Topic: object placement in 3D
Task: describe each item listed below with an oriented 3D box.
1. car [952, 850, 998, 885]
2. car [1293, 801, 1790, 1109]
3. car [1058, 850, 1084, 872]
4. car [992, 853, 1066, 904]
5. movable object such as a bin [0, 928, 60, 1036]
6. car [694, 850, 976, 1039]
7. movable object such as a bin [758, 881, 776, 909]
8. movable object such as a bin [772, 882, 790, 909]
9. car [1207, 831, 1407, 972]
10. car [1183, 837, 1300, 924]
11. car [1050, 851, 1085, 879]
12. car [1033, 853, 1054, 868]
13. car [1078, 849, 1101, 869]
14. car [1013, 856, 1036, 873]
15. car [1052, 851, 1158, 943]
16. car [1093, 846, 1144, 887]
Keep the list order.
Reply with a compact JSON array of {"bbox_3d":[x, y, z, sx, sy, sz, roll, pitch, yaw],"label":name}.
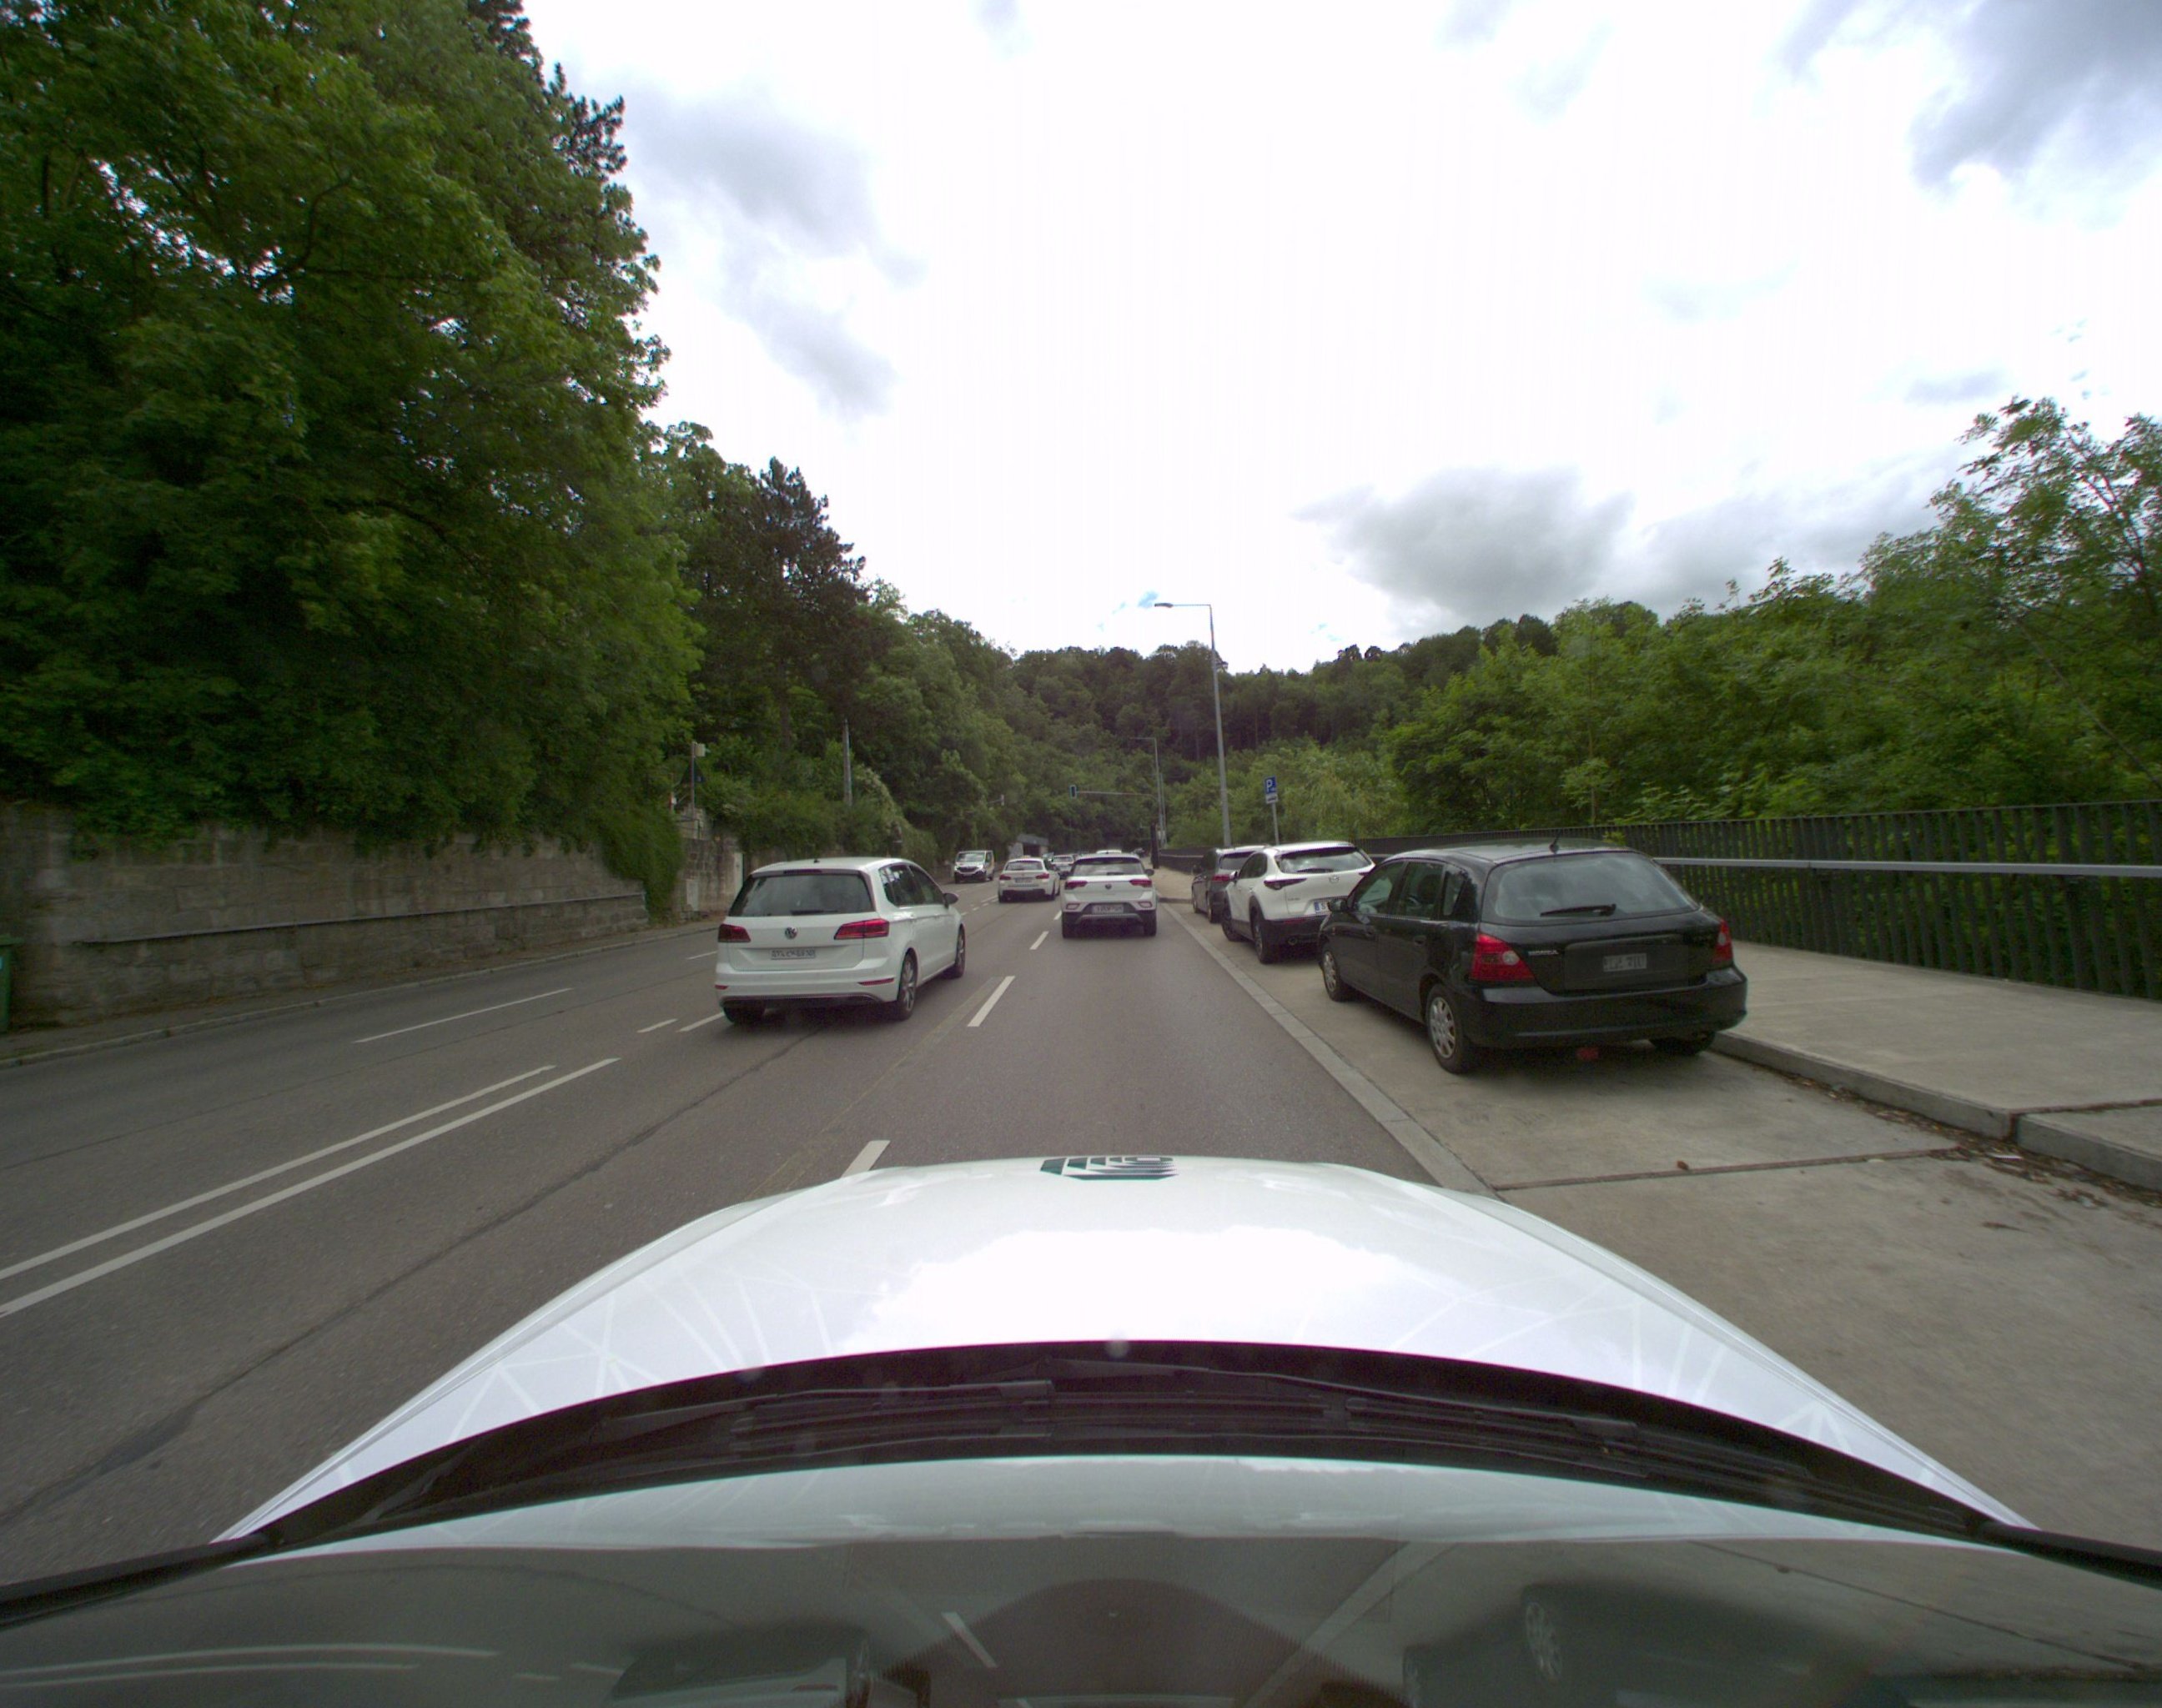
[{"bbox_3d":[-6.546,0.791,50.929,1.914,2.005,5.359,-3,0,2],"label":"car"},{"bbox_3d":[3.127,0.569,6.693,1.653,1.572,4.257,-6,0,2],"label":"car"},{"bbox_3d":[-0.794,0.561,68.728,1.986,1.741,4.002,-2,0,2],"label":"car"},{"bbox_3d":[-1.718,0.779,28.311,1.985,1.557,4.684,-2,0,3],"label":"car"},{"bbox_3d":[-11.601,1.368,8.546,0.785,1.071,0.708,-3,1,-2],"label":"movable object such as a bin"},{"bbox_3d":[-2.393,0.778,9.133,1.714,1.554,4.276,-2,0,1],"label":"car"},{"bbox_3d":[-11.081,1.452,28.715,0.476,0.971,0.367,-1,-1,-3],"label":"movable object such as a bin"},{"bbox_3d":[-10.575,1.452,28.732,0.478,0.936,0.365,-1,-1,-3],"label":"movable object such as a bin"},{"bbox_3d":[3.080,0.586,12.108,1.720,1.568,4.626,-4,-1,2],"label":"car"},{"bbox_3d":[3.451,0.524,18.298,1.750,1.544,4.429,-6,0,2],"label":"car"},{"bbox_3d":[-0.805,0.638,49.774,1.855,1.595,4.003,-1,0,2],"label":"car"},{"bbox_3d":[-4.302,0.785,93.003,1.934,1.549,4.251,-3,-1,2],"label":"car"},{"bbox_3d":[0.853,0.504,82.602,1.984,1.864,4.005,-2,0,5],"label":"car"},{"bbox_3d":[-5.358,0.973,77.707,1.669,1.442,4.238,-1,2,4],"label":"car"},{"bbox_3d":[0.607,0.768,16.445,1.805,1.539,4.014,-3,0,5],"label":"car"},{"bbox_3d":[1.897,0.583,39.707,1.981,1.843,4.161,-1,0,9],"label":"car"}]
